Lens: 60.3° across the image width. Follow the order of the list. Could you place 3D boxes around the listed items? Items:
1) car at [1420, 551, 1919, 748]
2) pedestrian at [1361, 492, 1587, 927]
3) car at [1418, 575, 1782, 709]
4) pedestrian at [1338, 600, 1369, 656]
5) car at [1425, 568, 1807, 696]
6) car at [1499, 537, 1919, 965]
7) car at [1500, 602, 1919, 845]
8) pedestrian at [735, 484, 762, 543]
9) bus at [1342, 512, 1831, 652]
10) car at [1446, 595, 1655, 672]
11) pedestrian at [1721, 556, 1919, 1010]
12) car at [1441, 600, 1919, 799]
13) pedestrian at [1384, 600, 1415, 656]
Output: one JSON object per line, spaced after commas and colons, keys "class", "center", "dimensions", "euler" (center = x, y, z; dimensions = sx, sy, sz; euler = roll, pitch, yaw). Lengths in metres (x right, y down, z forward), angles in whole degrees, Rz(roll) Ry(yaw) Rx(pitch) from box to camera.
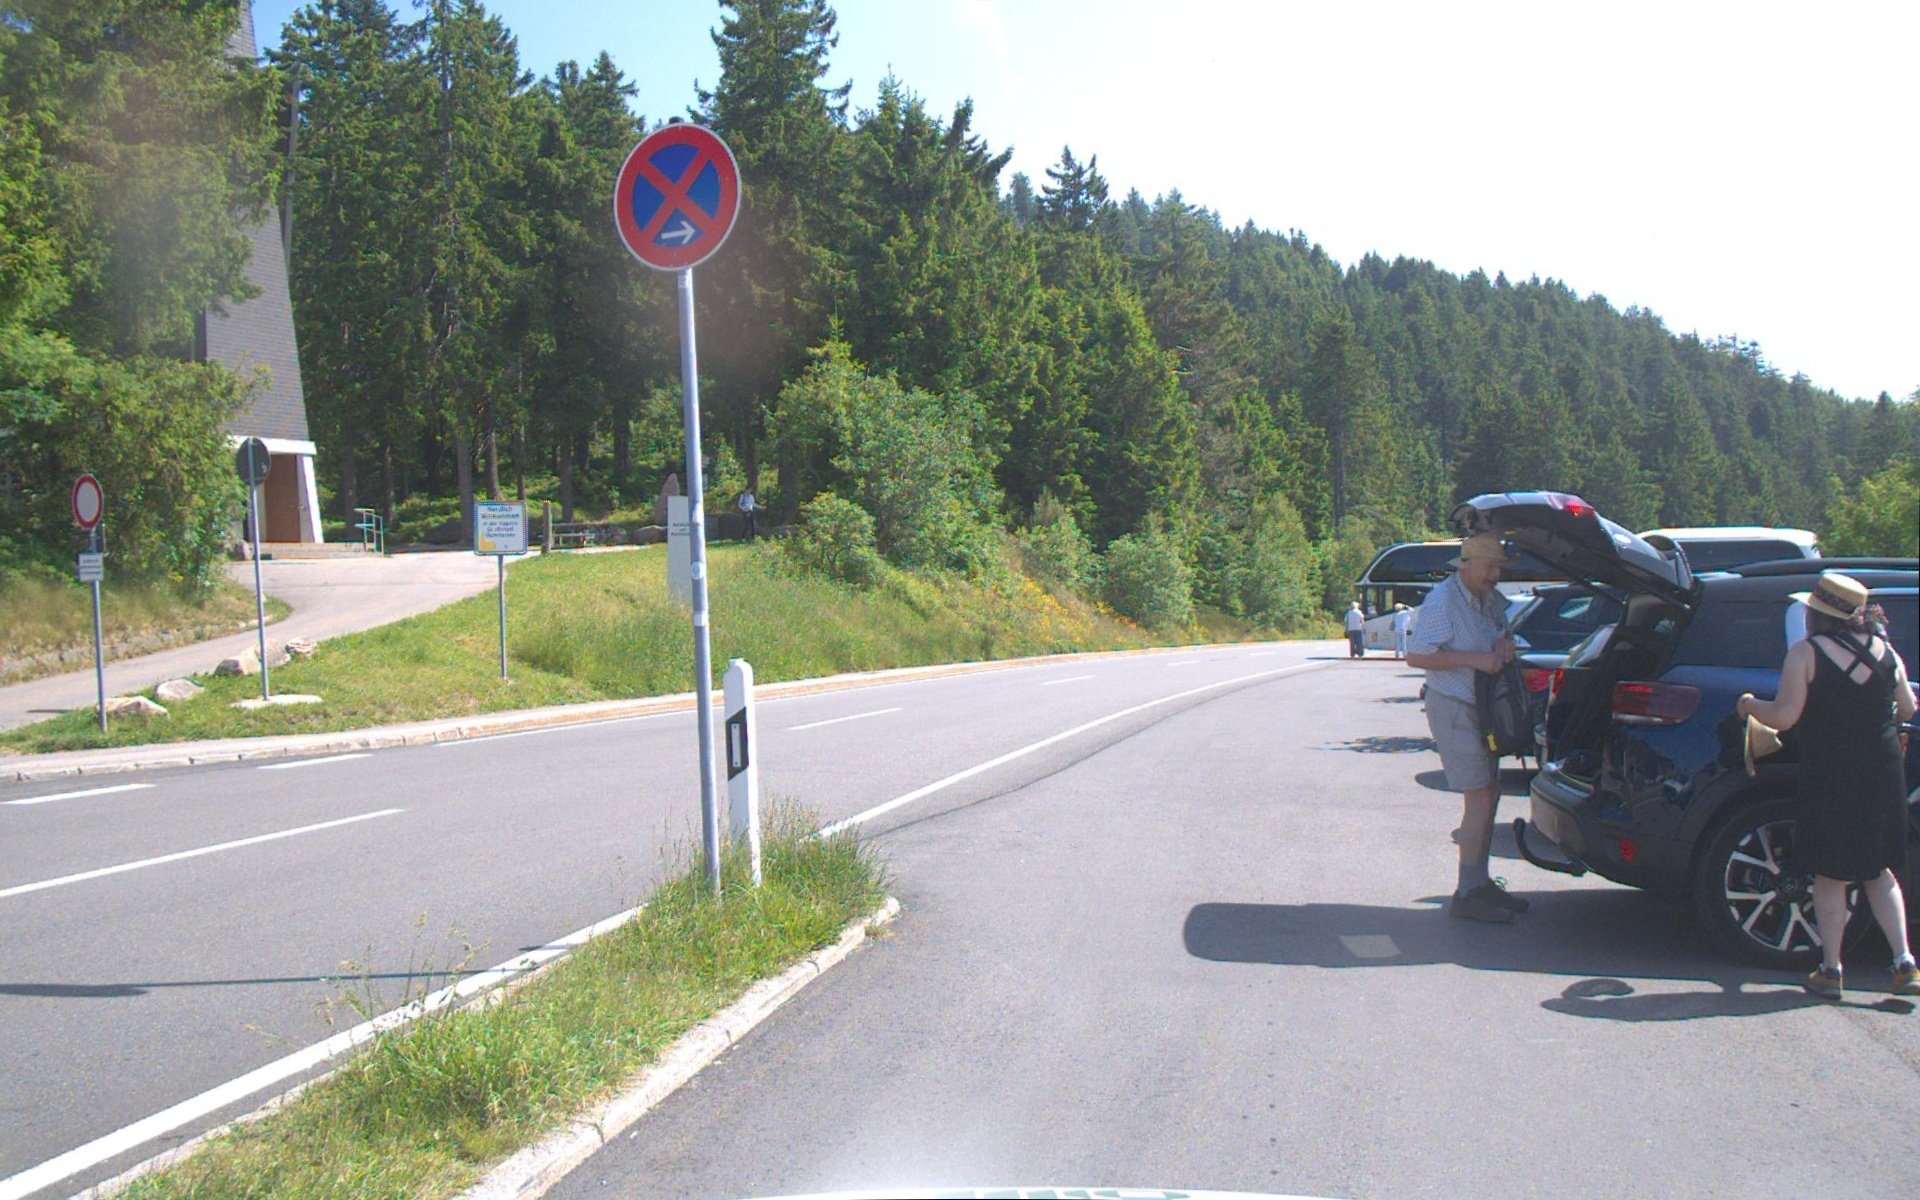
{"class": "car", "center": [6.993, 0.456, 15.937], "dimensions": [4.845, 1.725, 1.946], "euler": [-1, 0, 18]}
{"class": "pedestrian", "center": [2.402, 0.459, 7.737], "dimensions": [0.752, 1.903, 0.725], "euler": [-2, 3, -44]}
{"class": "car", "center": [8.052, 0.536, 21.224], "dimensions": [4.154, 1.581, 1.839], "euler": [-1, -1, 16]}
{"class": "pedestrian", "center": [11.597, 0.816, 48.703], "dimensions": [0.754, 1.613, 0.772], "euler": [-1, -1, 22]}
{"class": "car", "center": [9.323, 0.467, 23.988], "dimensions": [4.927, 1.680, 2.049], "euler": [-1, 0, 16]}
{"class": "car", "center": [4.782, 0.671, 7.369], "dimensions": [4.251, 1.654, 1.871], "euler": [3, 0, 10]}
{"class": "car", "center": [5.752, 0.761, 10.728], "dimensions": [3.995, 1.400, 1.703], "euler": [1, 0, 6]}
{"class": "pedestrian", "center": [-6.974, -2.849, 54.583], "dimensions": [0.670, 1.911, 0.538], "euler": [-2, -1, 42]}
{"class": "bus", "center": [17.883, -0.398, 47.974], "dimensions": [12.835, 3.594, 3.041], "euler": [-2, -1, 26]}
{"class": "car", "center": [12.090, 0.675, 34.128], "dimensions": [3.902, 1.474, 1.862], "euler": [-1, 0, 16]}
{"class": "pedestrian", "center": [3.381, 0.670, 6.294], "dimensions": [0.700, 1.641, 0.536], "euler": [1, -1, -5]}
{"class": "car", "center": [6.071, 0.753, 13.361], "dimensions": [3.994, 1.400, 1.704], "euler": [1, 0, 9]}
{"class": "pedestrian", "center": [12.810, 0.814, 48.222], "dimensions": [0.754, 1.613, 0.772], "euler": [-1, -1, 22]}
